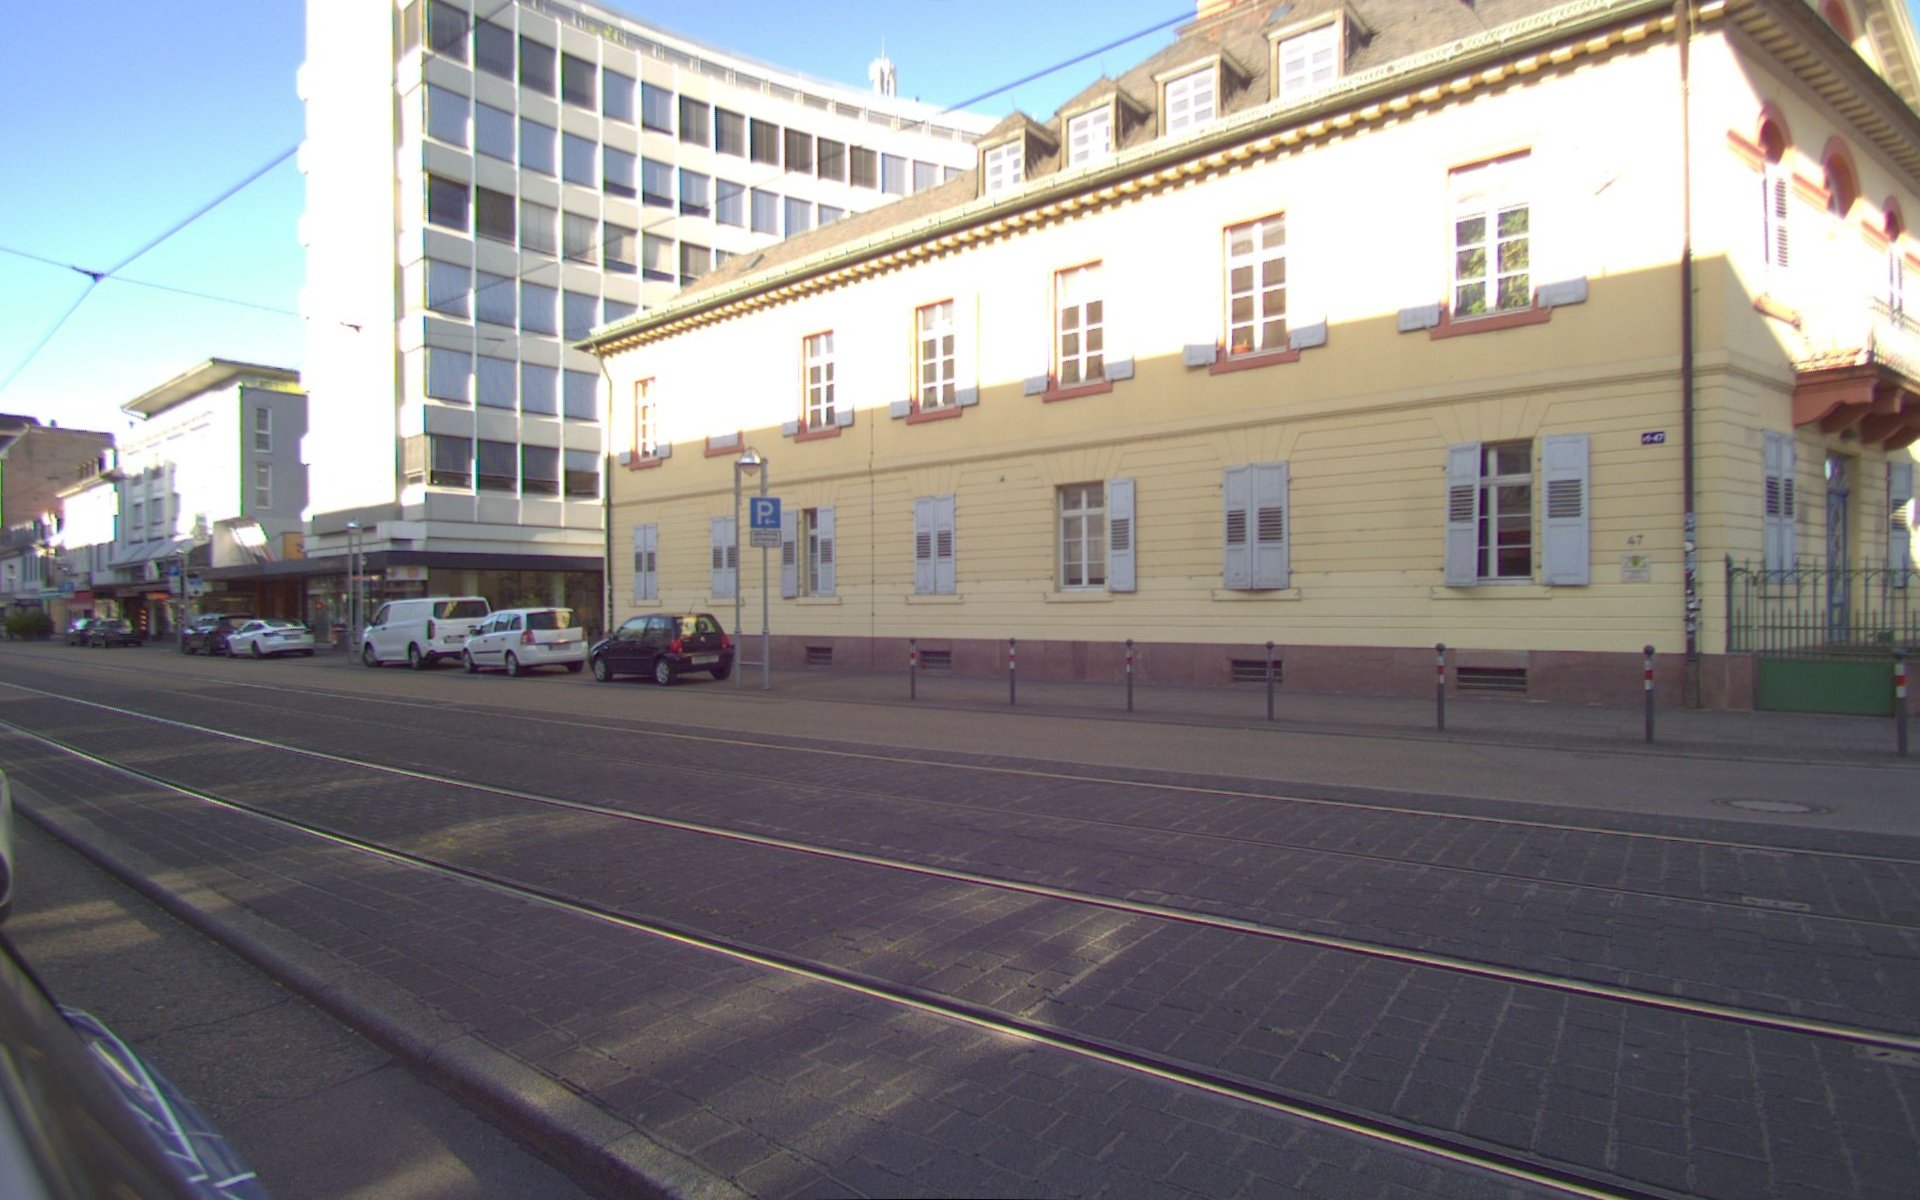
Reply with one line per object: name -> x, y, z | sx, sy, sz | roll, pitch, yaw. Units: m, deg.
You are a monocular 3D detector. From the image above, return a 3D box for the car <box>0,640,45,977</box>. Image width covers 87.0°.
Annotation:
car -> -6.089, 0.907, 4.781 | 3.992, 1.393, 1.862 | -1, 0, 36

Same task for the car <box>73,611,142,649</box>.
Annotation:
car -> -43.942, 1.508, 52.131 | 3.995, 1.874, 1.974 | -1, 0, 38

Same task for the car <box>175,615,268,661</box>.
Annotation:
car -> -29.910, 1.498, 40.948 | 4.103, 1.717, 1.975 | -1, 0, 38

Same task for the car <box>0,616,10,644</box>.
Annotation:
car -> -71.309, 2.241, 74.288 | 3.998, 2.029, 1.973 | -1, -1, 41

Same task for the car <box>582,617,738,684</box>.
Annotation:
car -> -6.393, 1.011, 21.460 | 3.210, 1.263, 1.667 | -1, 0, 39

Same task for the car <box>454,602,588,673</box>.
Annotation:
car -> -11.033, 0.896, 25.329 | 4.005, 1.621, 1.619 | -1, 0, 43

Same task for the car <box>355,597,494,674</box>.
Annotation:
car -> -15.354, 0.975, 28.937 | 4.619, 2.029, 2.014 | -1, -1, 41

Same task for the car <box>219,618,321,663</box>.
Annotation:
car -> -25.651, 1.451, 37.584 | 4.369, 1.541, 1.974 | -1, 0, 39

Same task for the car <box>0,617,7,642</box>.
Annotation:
car -> -78.763, 2.400, 81.789 | 3.995, 2.029, 1.974 | -1, 0, 38

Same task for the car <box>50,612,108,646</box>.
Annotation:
car -> -50.240, 1.641, 57.709 | 3.994, 1.896, 1.768 | -1, -1, 38

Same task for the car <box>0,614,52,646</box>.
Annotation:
car -> -62.884, 2.021, 68.019 | 3.996, 2.058, 2.172 | -1, -1, 39
